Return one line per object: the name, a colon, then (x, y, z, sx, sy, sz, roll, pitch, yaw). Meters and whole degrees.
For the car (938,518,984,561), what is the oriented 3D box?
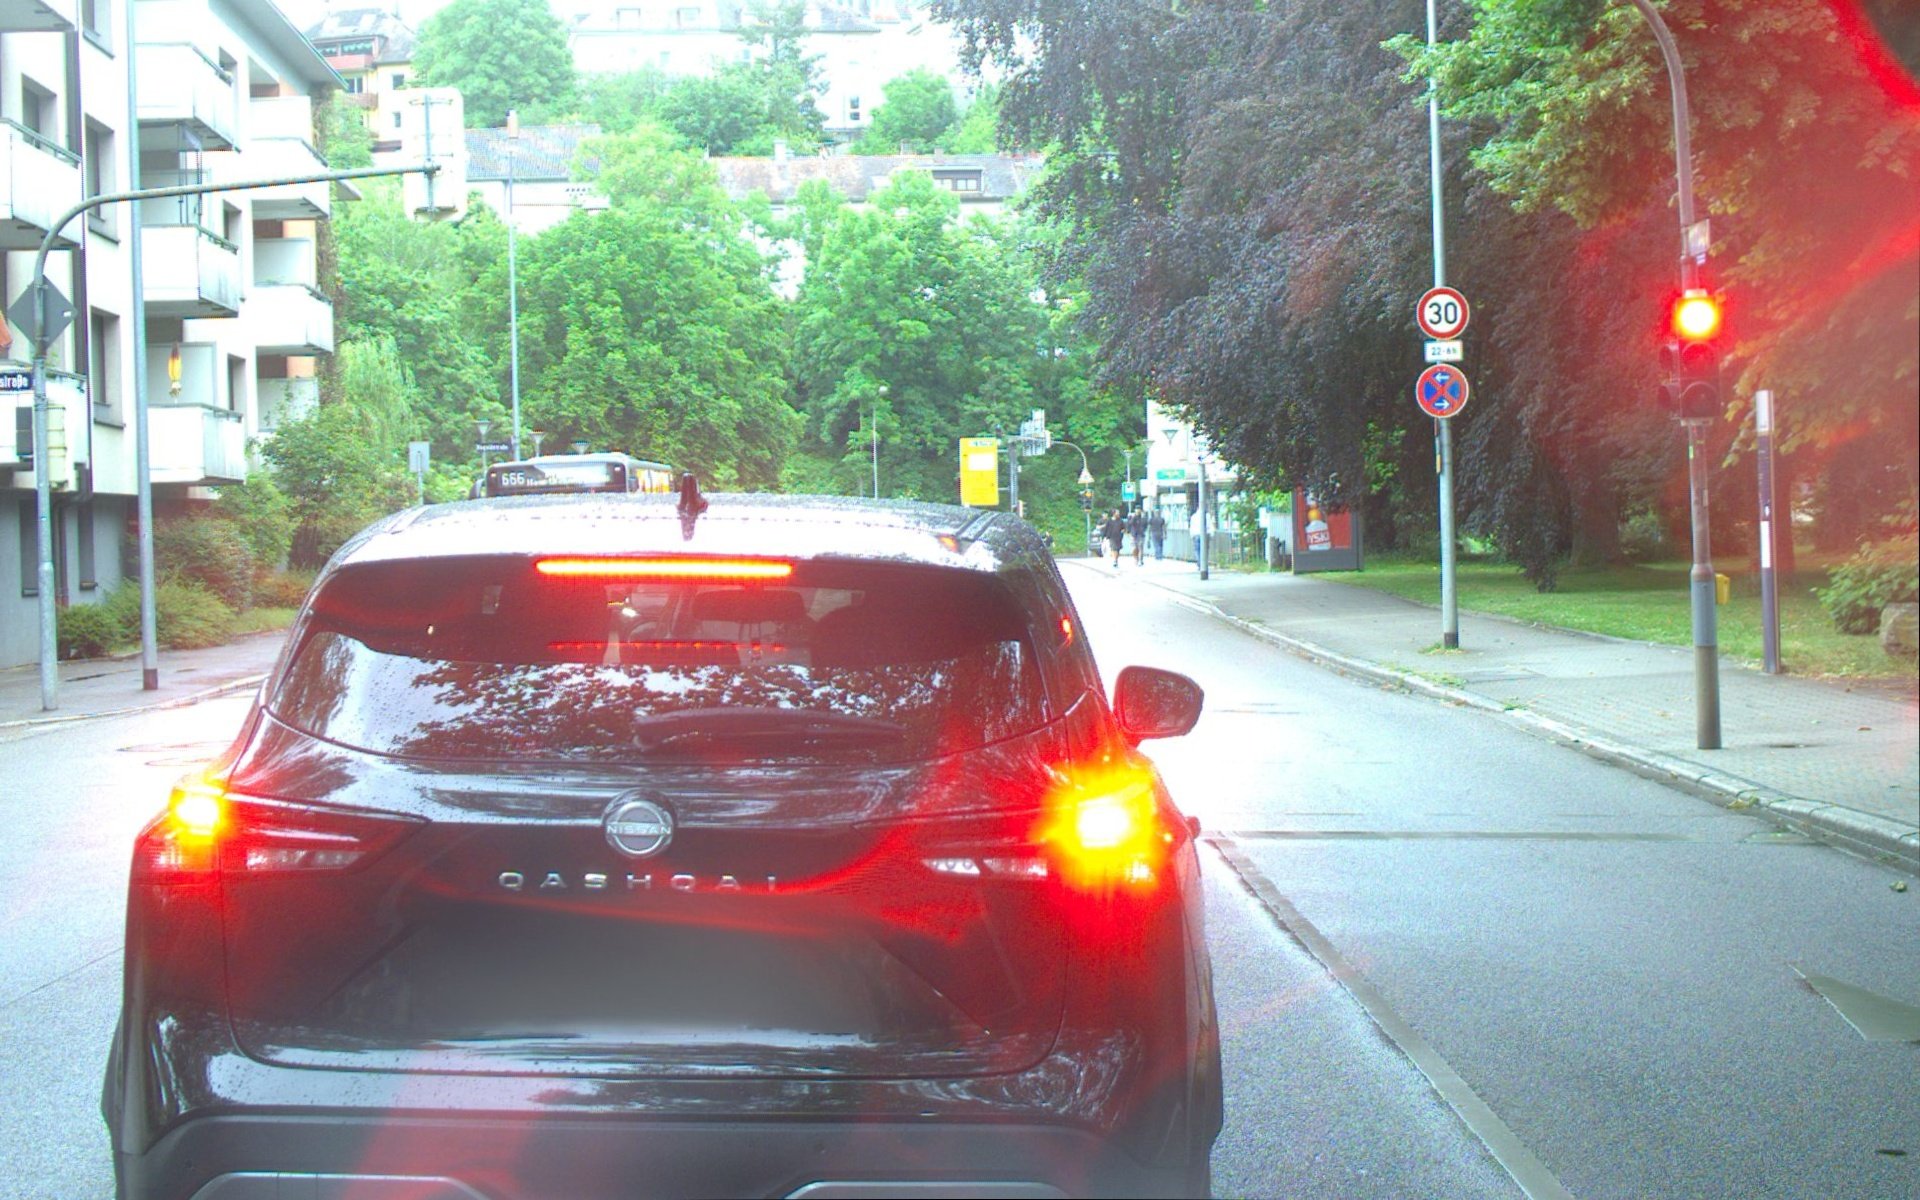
car: (0.041, -2.425, 136.969, 1.750, 1.628, 3.635, -2, 1, 0)

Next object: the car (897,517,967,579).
car: (-0.661, -1.261, 83.158, 1.624, 1.410, 3.455, -2, 1, 0)

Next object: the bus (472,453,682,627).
bus: (-7.162, -1.146, 65.977, 2.766, 2.964, 11.782, -2, 1, -1)

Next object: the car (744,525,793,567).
car: (-7.932, -2.257, 142.624, 1.750, 1.628, 3.635, -2, 1, 0)

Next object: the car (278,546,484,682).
car: (-6.838, 0.129, 40.946, 1.808, 1.412, 4.031, -3, 1, -2)

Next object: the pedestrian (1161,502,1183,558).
pedestrian: (6.760, -2.228, 109.700, 0.618, 1.773, 0.551, -2, 1, -1)

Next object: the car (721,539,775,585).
car: (-7.388, -1.350, 119.808, 1.676, 1.464, 4.217, -3, 1, -2)

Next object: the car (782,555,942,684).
car: (-1.177, 0.195, 41.153, 1.808, 1.412, 4.031, 0, 1, -2)

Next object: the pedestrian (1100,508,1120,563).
pedestrian: (4.467, -1.918, 102.440, 0.544, 1.645, 0.490, 1, 0, 0)

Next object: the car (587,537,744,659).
car: (-3.682, -0.055, 43.448, 1.624, 1.410, 3.455, -2, 1, 0)

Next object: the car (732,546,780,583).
car: (-7.881, -1.388, 132.921, 1.676, 1.291, 3.752, -3, 1, -2)

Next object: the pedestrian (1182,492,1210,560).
pedestrian: (6.252, -1.969, 91.255, 0.618, 1.773, 0.778, -2, 1, -1)

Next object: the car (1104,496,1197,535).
car: (9.094, -4.030, 164.165, 3.986, 1.678, 2.001, -2, 1, -10)

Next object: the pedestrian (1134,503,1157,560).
pedestrian: (5.896, -2.164, 109.107, 0.618, 1.773, 0.551, -2, 1, -1)

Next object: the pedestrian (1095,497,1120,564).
pedestrian: (4.864, -2.284, 113.358, 0.768, 2.176, 0.711, 1, 0, 3)

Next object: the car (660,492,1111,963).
car: (-0.245, 0.438, 14.727, 1.622, 1.703, 3.771, -2, 1, 1)

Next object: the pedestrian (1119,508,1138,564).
pedestrian: (4.952, -1.878, 101.017, 0.514, 1.650, 0.550, 1, 0, -1)

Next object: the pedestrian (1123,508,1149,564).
pedestrian: (5.250, -1.908, 102.551, 0.699, 1.645, 0.628, 1, 0, 0)

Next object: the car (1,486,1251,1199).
car: (-0.513, 0.619, 7.011, 1.806, 1.584, 4.000, 1, 1, -1)
